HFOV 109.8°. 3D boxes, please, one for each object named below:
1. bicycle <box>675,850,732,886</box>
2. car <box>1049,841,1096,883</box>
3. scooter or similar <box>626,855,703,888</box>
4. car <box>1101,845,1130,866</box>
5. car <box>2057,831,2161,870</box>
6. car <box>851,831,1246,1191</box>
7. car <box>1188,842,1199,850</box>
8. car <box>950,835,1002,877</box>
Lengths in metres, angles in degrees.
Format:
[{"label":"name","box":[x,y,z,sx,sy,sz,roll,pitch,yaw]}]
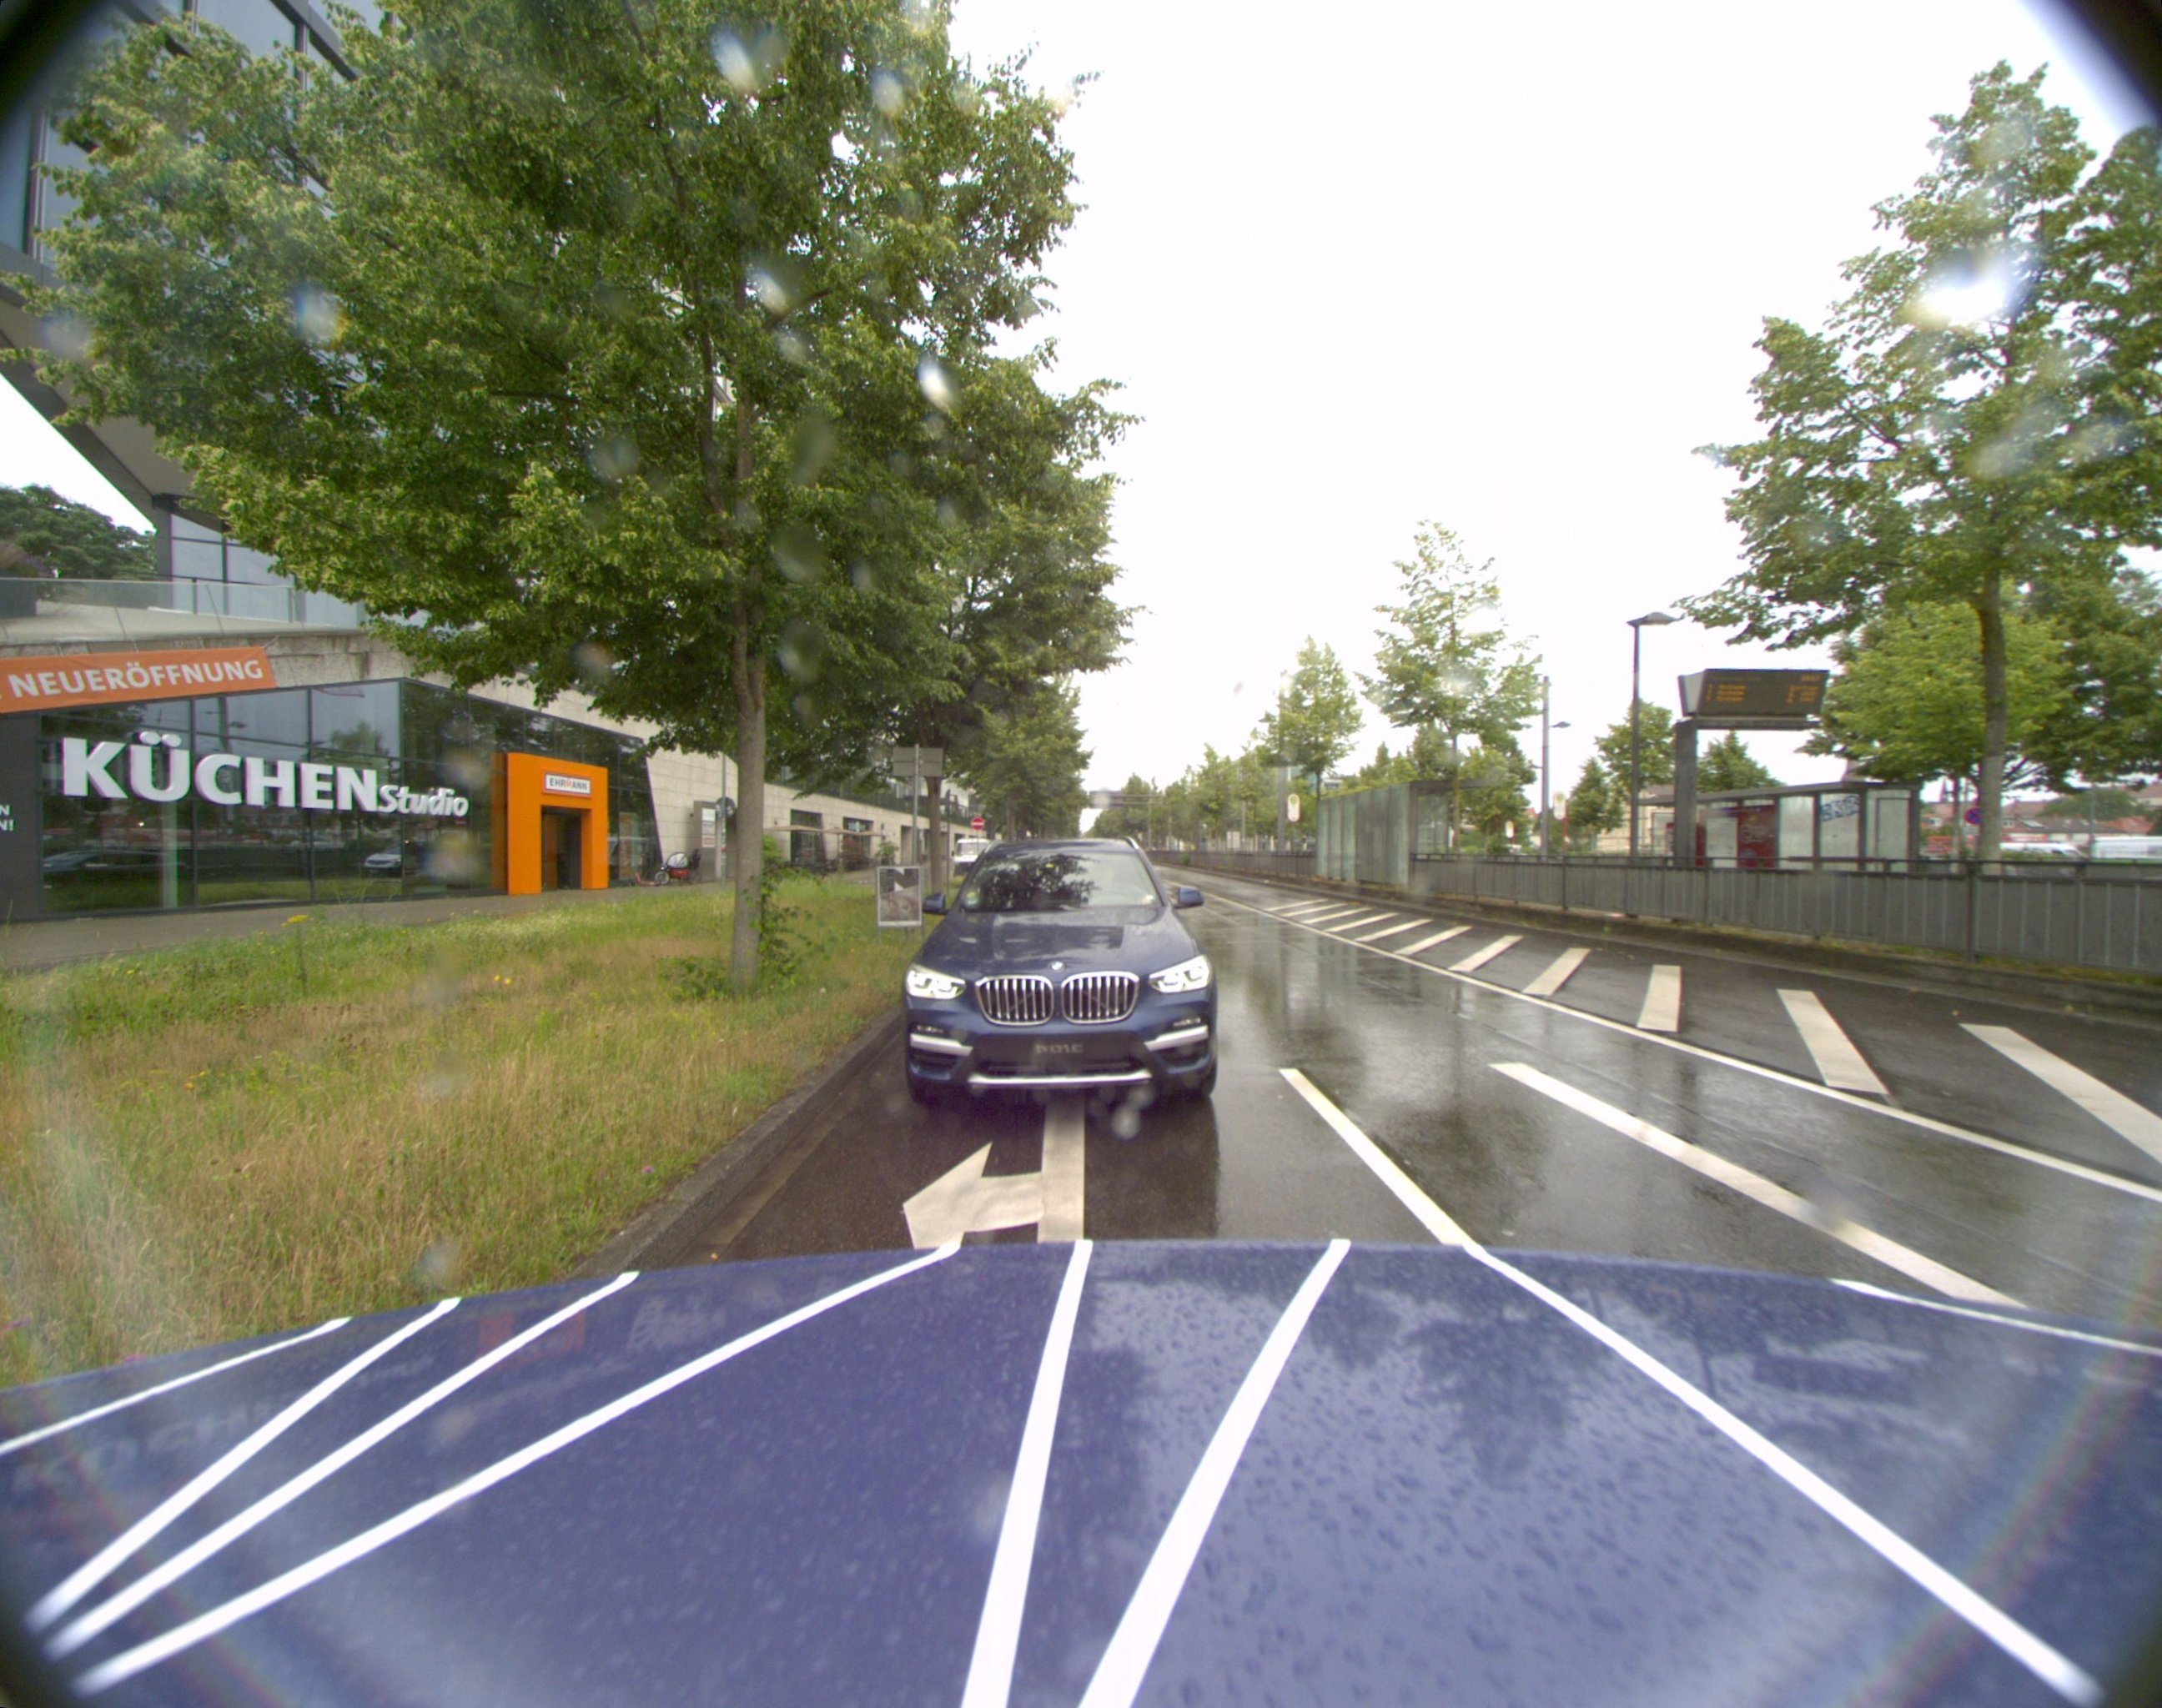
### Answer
[{"label":"bicycle","box":[-15.419,0.540,31.125,0.882,1.339,2.696,-2,1,1]},{"label":"car","box":[-0.314,0.302,32.336,1.788,1.638,3.999,-2,1,1]},{"label":"scooter or similar","box":[-15.460,0.631,28.333,0.810,1.093,2.617,-2,1,18]},{"label":"car","box":[2.580,0.078,57.333,1.788,1.509,4.331,-2,1,-2]},{"label":"car","box":[70.195,-0.255,49.809,2.356,2.462,7.636,-2,1,-3]},{"label":"car","box":[-0.136,0.820,6.004,1.916,1.736,4.384,-2,-1,1]},{"label":"car","box":[27.643,-1.980,187.027,1.998,2.002,4.000,-2,1,2]},{"label":"car","box":[-5.921,0.057,43.452,2.084,2.189,5.097,-2,1,1]}]
